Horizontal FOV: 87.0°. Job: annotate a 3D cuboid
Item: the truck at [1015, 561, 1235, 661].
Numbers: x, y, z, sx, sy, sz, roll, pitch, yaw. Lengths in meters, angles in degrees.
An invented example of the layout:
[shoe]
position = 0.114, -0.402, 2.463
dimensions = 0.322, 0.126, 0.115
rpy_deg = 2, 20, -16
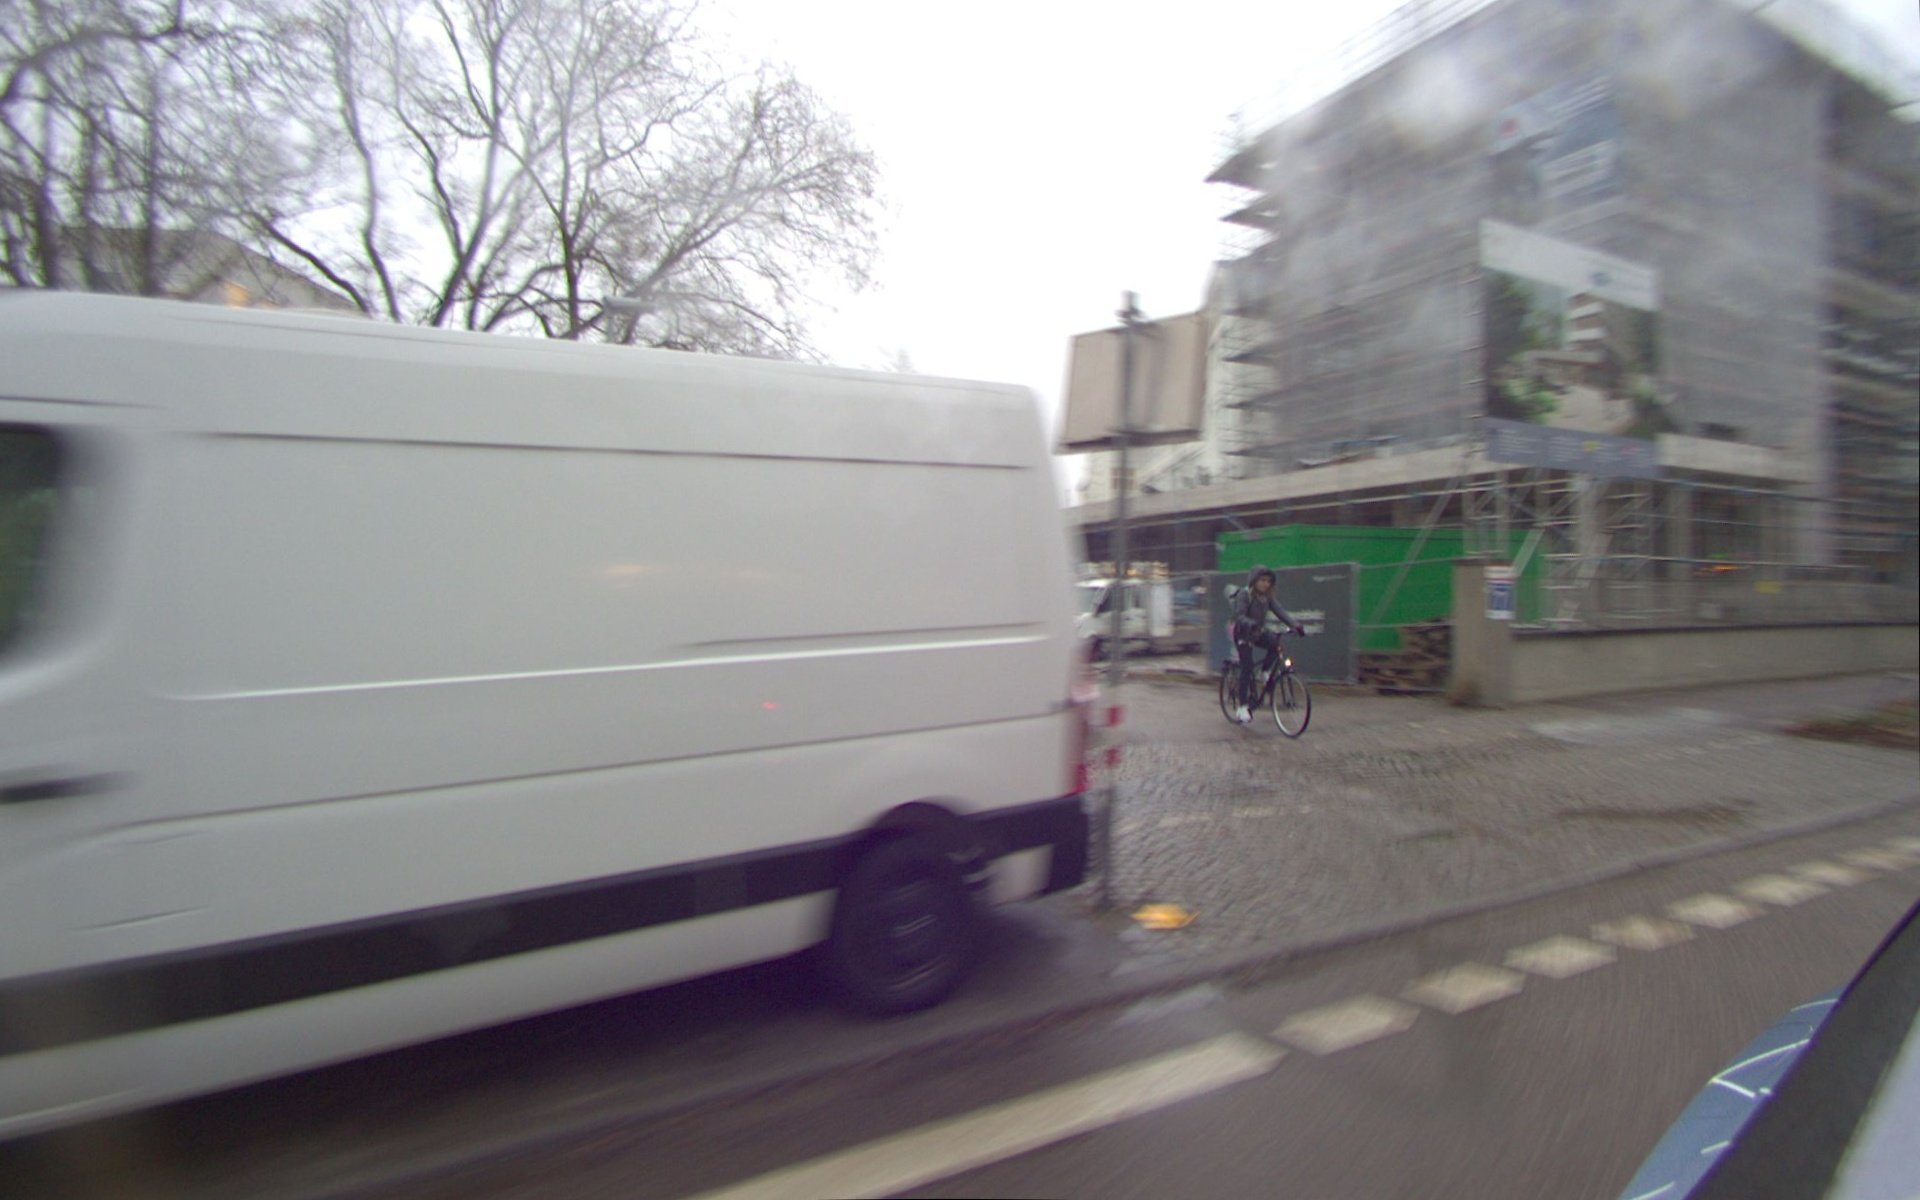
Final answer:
[truck]
position = 4.972, 0.204, 29.649
dimensions = 6.950, 2.620, 2.131
rpy_deg = -2, 1, -37

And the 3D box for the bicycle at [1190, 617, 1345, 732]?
[bicycle]
position = 3.437, 0.791, 11.515
dimensions = 0.715, 1.147, 1.898
rpy_deg = 0, 0, -18

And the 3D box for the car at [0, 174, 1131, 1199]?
[car]
position = -2.100, 0.257, 3.722
dimensions = 5.331, 2.519, 2.132
rpy_deg = 0, 0, -32

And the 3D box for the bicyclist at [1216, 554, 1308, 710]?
[bicyclist]
position = 3.434, 0.352, 11.546
dimensions = 0.692, 1.711, 0.773
rpy_deg = 0, 0, -18
